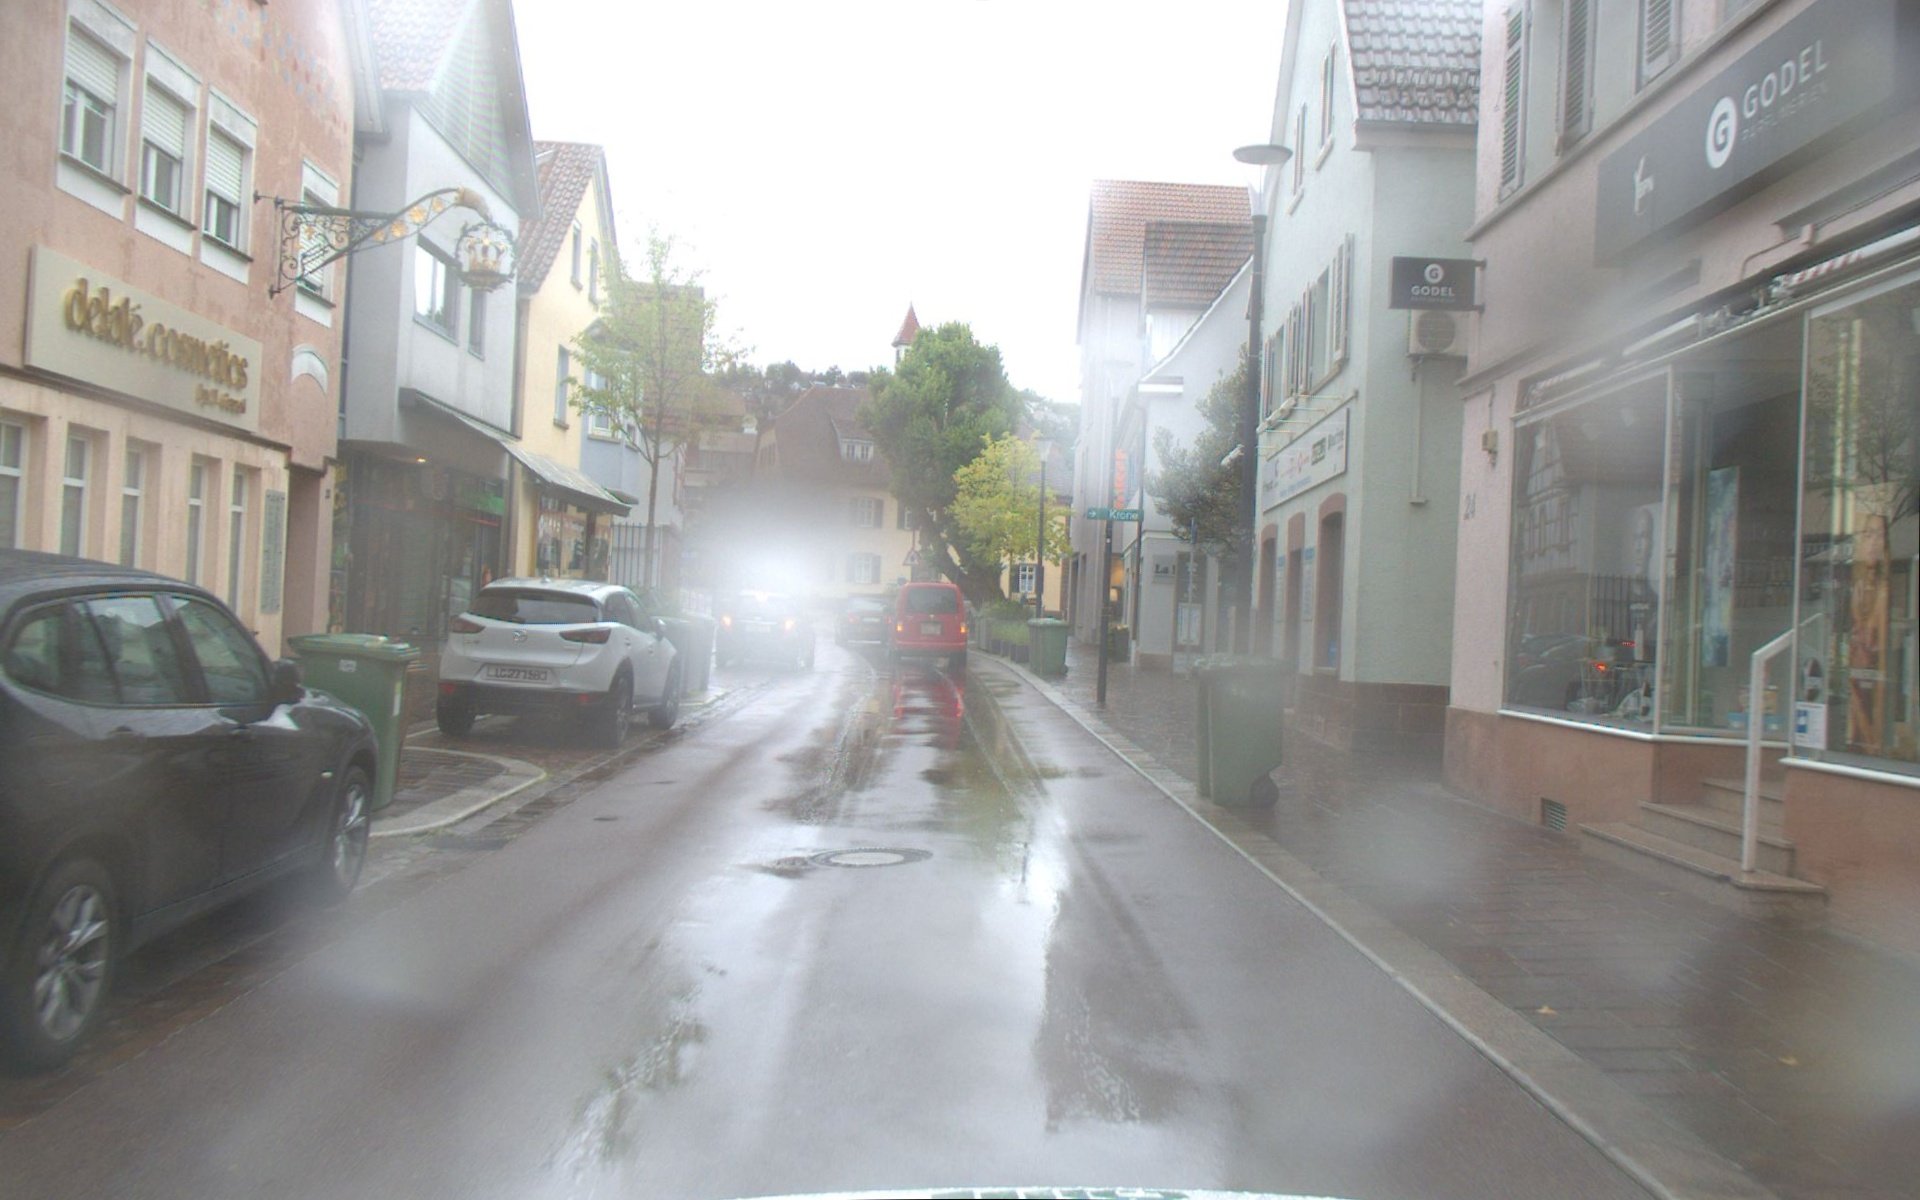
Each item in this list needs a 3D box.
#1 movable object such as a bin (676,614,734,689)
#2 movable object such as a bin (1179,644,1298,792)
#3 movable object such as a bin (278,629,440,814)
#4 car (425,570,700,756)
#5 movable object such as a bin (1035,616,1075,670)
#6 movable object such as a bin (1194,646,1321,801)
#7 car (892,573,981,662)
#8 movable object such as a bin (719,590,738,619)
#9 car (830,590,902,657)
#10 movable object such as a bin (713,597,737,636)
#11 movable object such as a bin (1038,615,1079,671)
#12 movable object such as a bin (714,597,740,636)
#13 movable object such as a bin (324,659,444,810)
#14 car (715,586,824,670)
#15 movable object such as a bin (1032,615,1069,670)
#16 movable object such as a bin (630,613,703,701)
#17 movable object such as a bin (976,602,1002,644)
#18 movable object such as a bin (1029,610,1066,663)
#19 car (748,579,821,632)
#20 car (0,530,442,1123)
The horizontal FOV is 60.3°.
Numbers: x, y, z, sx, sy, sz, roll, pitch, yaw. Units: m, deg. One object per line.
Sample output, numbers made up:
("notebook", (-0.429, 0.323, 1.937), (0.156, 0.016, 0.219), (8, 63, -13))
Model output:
("movable object such as a bin", (-3.801, 0.769, 24.683), (0.695, 1.071, 0.704), (3, -2, 0))
("movable object such as a bin", (2.182, 0.917, 12.993), (0.780, 1.099, 0.582), (2, -1, -4))
("movable object such as a bin", (-3.786, 0.752, 10.472), (0.754, 1.101, 0.675), (3, -2, -5))
("car", (-3.905, 0.541, 16.946), (1.657, 1.565, 4.121), (4, 1, 1))
("movable object such as a bin", (1.996, 0.899, 34.741), (0.739, 1.082, 0.600), (3, -2, 0))
("movable object such as a bin", (2.213, 0.909, 12.352), (0.777, 1.099, 0.614), (2, -1, -4))
("car", (-0.601, 0.352, 38.681), (1.856, 1.842, 3.998), (4, 1, -3))
("movable object such as a bin", (-9.666, 0.188, 68.941), (0.701, 1.125, 0.598), (4, -2, -11))
("car", (-2.861, 0.719, 49.812), (1.955, 1.831, 3.996), (4, -2, -4))
("movable object such as a bin", (-7.115, 0.503, 50.087), (0.647, 1.129, 0.614), (4, -2, -9))
("movable object such as a bin", (2.028, 0.880, 34.114), (0.752, 1.098, 0.599), (3, -2, 0))
("movable object such as a bin", (-6.962, 0.499, 49.458), (0.712, 1.129, 0.595), (4, -2, -9))
("movable object such as a bin", (-3.870, 0.893, 11.150), (0.597, 0.955, 0.499), (3, -2, -5))
("car", (-3.792, 0.523, 33.496), (1.657, 1.468, 3.884), (4, 1, 0))
("movable object such as a bin", (1.935, 0.909, 35.379), (0.714, 1.110, 0.521), (3, -2, 0))
("movable object such as a bin", (-3.925, 0.754, 22.141), (0.770, 1.103, 0.693), (4, 1, 2))
("movable object such as a bin", (0.858, 0.677, 48.461), (0.620, 1.170, 0.578), (4, -2, -8))
("movable object such as a bin", (1.930, 0.806, 36.634), (0.720, 1.117, 0.611), (3, -2, -1))
("car", (-5.757, 0.140, 53.863), (1.757, 1.521, 3.986), (4, 0, -14))
("car", (-3.498, 0.552, 6.262), (1.744, 1.564, 4.288), (4, 1, -2))
